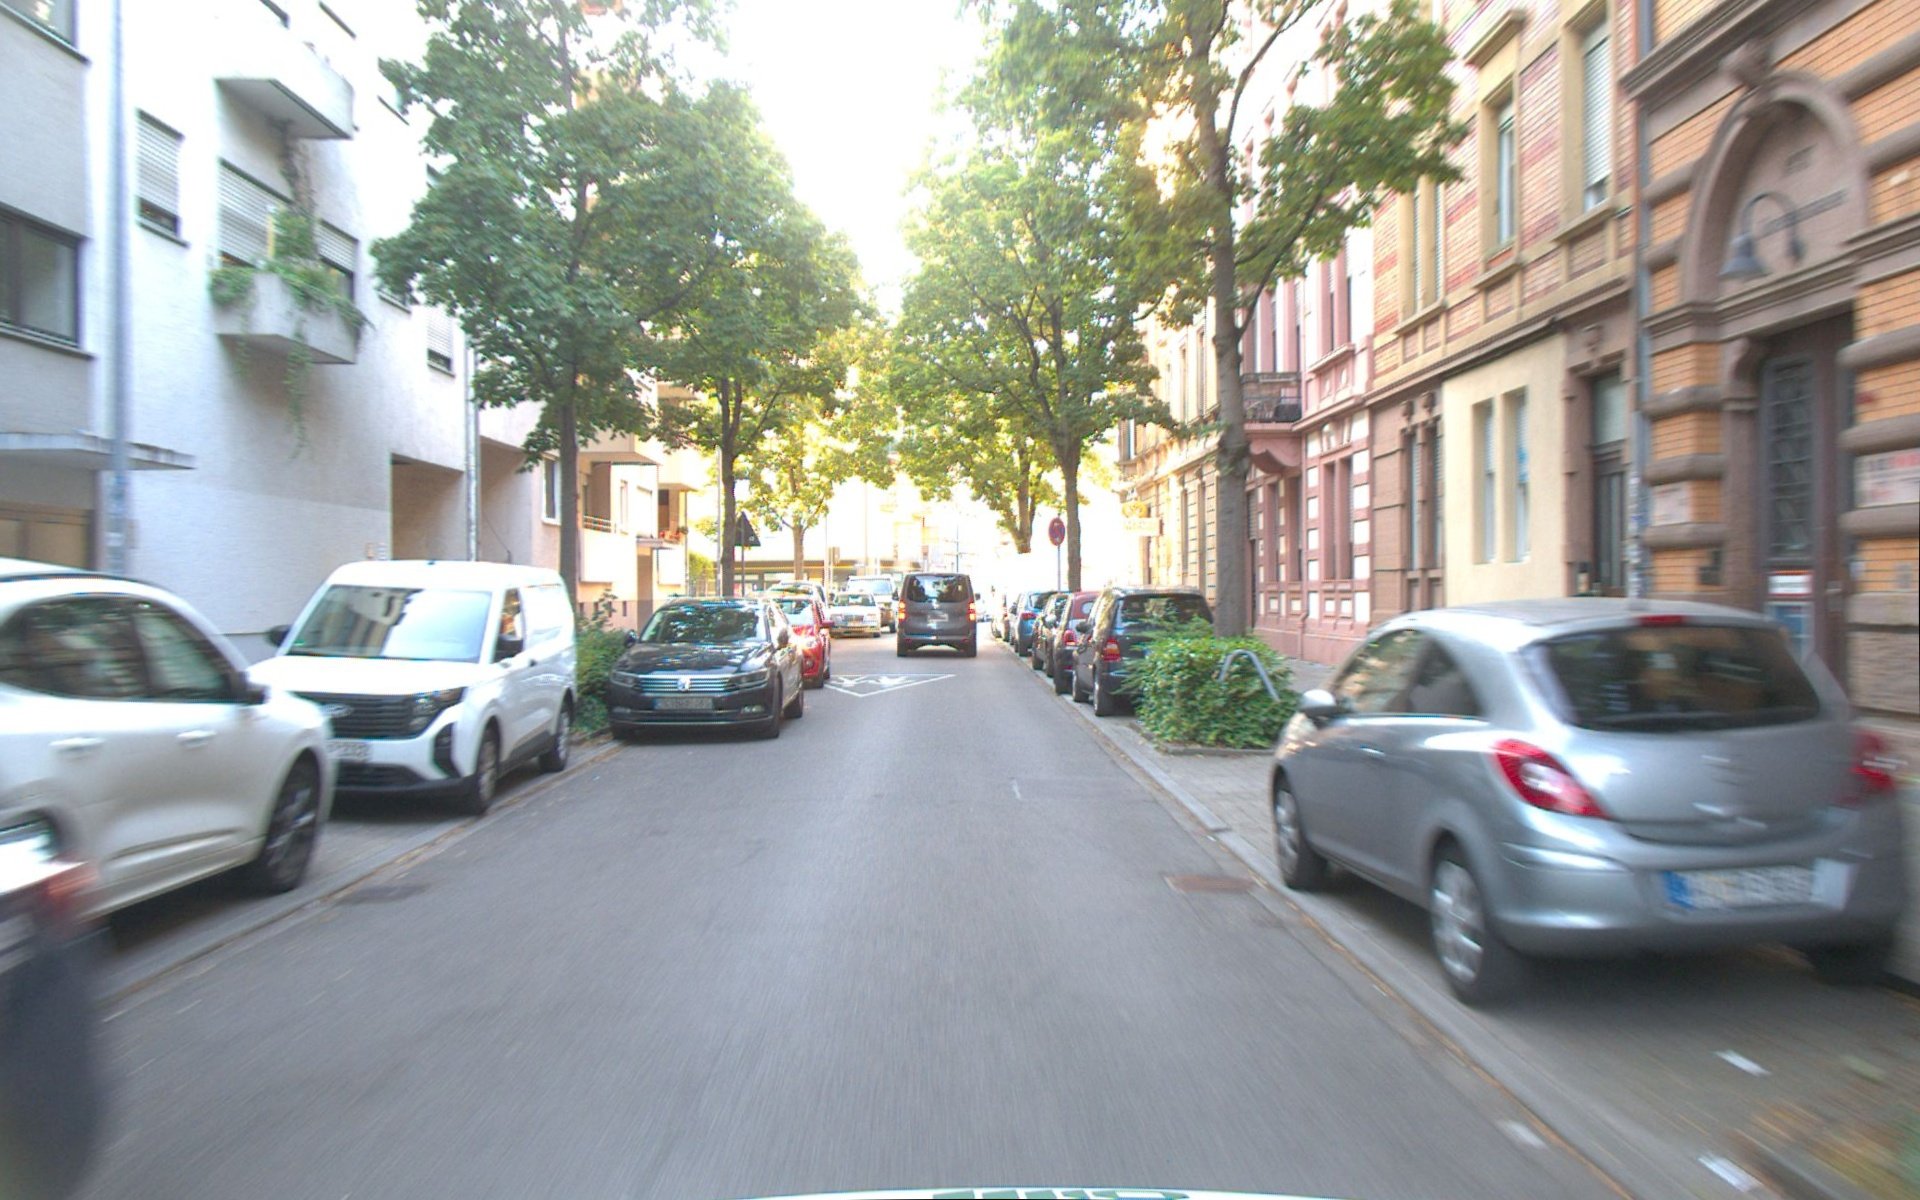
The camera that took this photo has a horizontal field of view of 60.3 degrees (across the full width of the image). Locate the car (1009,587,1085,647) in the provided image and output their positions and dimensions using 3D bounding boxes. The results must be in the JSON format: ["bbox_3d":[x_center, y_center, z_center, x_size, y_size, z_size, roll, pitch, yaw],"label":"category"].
[{"bbox_3d":[2.278,0.426,44.056,1.715,1.497,3.775,-1,1,-1],"label":"car"}]

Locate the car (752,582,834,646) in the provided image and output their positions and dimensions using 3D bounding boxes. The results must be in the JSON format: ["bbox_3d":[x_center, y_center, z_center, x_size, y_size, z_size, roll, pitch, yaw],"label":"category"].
[{"bbox_3d":[-4.488,0.342,45.006,1.858,1.665,4.155,1,1,-1],"label":"car"}]

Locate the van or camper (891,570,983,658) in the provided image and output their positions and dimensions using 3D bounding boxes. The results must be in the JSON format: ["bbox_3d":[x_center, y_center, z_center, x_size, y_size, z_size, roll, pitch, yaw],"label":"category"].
[{"bbox_3d":[-0.472,0.291,38.922,1.993,1.930,4.271,-1,1,1],"label":"van or camper"}]

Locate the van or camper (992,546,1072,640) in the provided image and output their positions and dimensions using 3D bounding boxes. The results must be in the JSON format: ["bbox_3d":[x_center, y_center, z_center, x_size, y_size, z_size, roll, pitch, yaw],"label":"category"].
[{"bbox_3d":[2.116,-0.221,49.775,1.953,2.644,5.422,-1,1,-2],"label":"van or camper"}]

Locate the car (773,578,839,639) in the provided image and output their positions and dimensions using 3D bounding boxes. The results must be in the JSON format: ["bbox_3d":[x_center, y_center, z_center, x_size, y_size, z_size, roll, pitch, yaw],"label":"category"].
[{"bbox_3d":[-4.610,0.232,49.829,1.706,1.741,3.374,0,1,-1],"label":"car"}]

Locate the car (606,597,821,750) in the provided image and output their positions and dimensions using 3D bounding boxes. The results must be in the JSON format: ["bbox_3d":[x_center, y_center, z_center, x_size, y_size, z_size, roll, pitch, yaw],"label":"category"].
[{"bbox_3d":[-2.689,0.741,18.996,1.809,1.477,4.502,-1,1,0],"label":"car"}]

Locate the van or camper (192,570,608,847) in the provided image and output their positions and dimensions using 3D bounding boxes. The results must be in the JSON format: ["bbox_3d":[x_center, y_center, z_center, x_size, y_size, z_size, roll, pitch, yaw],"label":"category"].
[{"bbox_3d":[-4.204,0.690,13.265,1.892,1.790,4.464,2,1,-2],"label":"van or camper"}]

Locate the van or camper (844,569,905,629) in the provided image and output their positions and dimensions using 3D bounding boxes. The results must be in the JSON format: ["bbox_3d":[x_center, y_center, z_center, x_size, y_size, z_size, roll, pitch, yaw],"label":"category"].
[{"bbox_3d":[-2.993,-0.054,58.684,1.824,2.018,4.271,-2,1,1],"label":"van or camper"}]

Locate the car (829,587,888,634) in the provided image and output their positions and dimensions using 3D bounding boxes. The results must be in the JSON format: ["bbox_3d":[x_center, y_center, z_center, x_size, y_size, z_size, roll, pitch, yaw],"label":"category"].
[{"bbox_3d":[-3.250,0.315,53.579,1.706,1.428,3.374,-2,1,-1],"label":"car"}]

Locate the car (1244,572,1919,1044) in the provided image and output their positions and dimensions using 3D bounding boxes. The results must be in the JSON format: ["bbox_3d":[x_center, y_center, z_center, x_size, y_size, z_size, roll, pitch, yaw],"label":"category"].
[{"bbox_3d":[2.600,0.688,7.615,1.664,1.508,3.998,-3,0,-3],"label":"car"}]

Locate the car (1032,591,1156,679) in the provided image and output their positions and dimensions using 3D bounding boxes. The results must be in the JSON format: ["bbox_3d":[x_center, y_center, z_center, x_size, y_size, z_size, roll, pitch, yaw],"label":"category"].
[{"bbox_3d":[2.354,0.585,29.921,1.681,1.428,3.811,-1,1,-3],"label":"car"}]

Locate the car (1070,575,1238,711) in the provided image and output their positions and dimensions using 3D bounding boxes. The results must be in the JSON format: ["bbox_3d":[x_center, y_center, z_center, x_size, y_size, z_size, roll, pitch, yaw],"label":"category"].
[{"bbox_3d":[2.458,0.492,21.776,1.579,1.586,3.764,-2,1,-2],"label":"car"}]

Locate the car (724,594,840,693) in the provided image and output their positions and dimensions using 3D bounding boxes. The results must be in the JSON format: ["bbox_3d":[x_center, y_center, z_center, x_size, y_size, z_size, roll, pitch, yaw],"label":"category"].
[{"bbox_3d":[-2.874,0.670,27.291,1.597,1.455,3.541,-2,1,-2],"label":"car"}]

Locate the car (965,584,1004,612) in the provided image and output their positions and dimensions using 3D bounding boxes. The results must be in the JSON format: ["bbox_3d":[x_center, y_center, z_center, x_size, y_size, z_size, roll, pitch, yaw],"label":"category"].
[{"bbox_3d":[1.547,-0.129,101.552,1.757,1.606,3.751,-1,1,11],"label":"car"}]

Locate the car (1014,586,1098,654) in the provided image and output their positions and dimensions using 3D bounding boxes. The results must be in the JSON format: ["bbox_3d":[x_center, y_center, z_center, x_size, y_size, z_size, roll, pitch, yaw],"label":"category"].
[{"bbox_3d":[2.206,0.433,38.799,1.714,1.497,3.776,-1,1,0],"label":"car"}]

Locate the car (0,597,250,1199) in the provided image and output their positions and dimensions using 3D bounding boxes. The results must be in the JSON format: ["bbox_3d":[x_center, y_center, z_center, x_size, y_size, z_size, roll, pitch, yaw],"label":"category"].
[{"bbox_3d":[-2.402,0.796,1.317,1.793,1.543,4.515,-1,0,-1],"label":"car"}]

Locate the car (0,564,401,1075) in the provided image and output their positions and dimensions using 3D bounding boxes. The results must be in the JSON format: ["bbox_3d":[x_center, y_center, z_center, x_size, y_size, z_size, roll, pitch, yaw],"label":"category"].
[{"bbox_3d":[-4.318,0.710,7.602,1.993,1.701,4.647,2,1,-2],"label":"car"}]

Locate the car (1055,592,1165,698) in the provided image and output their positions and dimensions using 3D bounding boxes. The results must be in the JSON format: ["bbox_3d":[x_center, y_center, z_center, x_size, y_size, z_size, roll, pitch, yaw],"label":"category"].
[{"bbox_3d":[2.298,0.648,26.073,1.518,1.523,3.611,-1,1,2],"label":"car"}]
